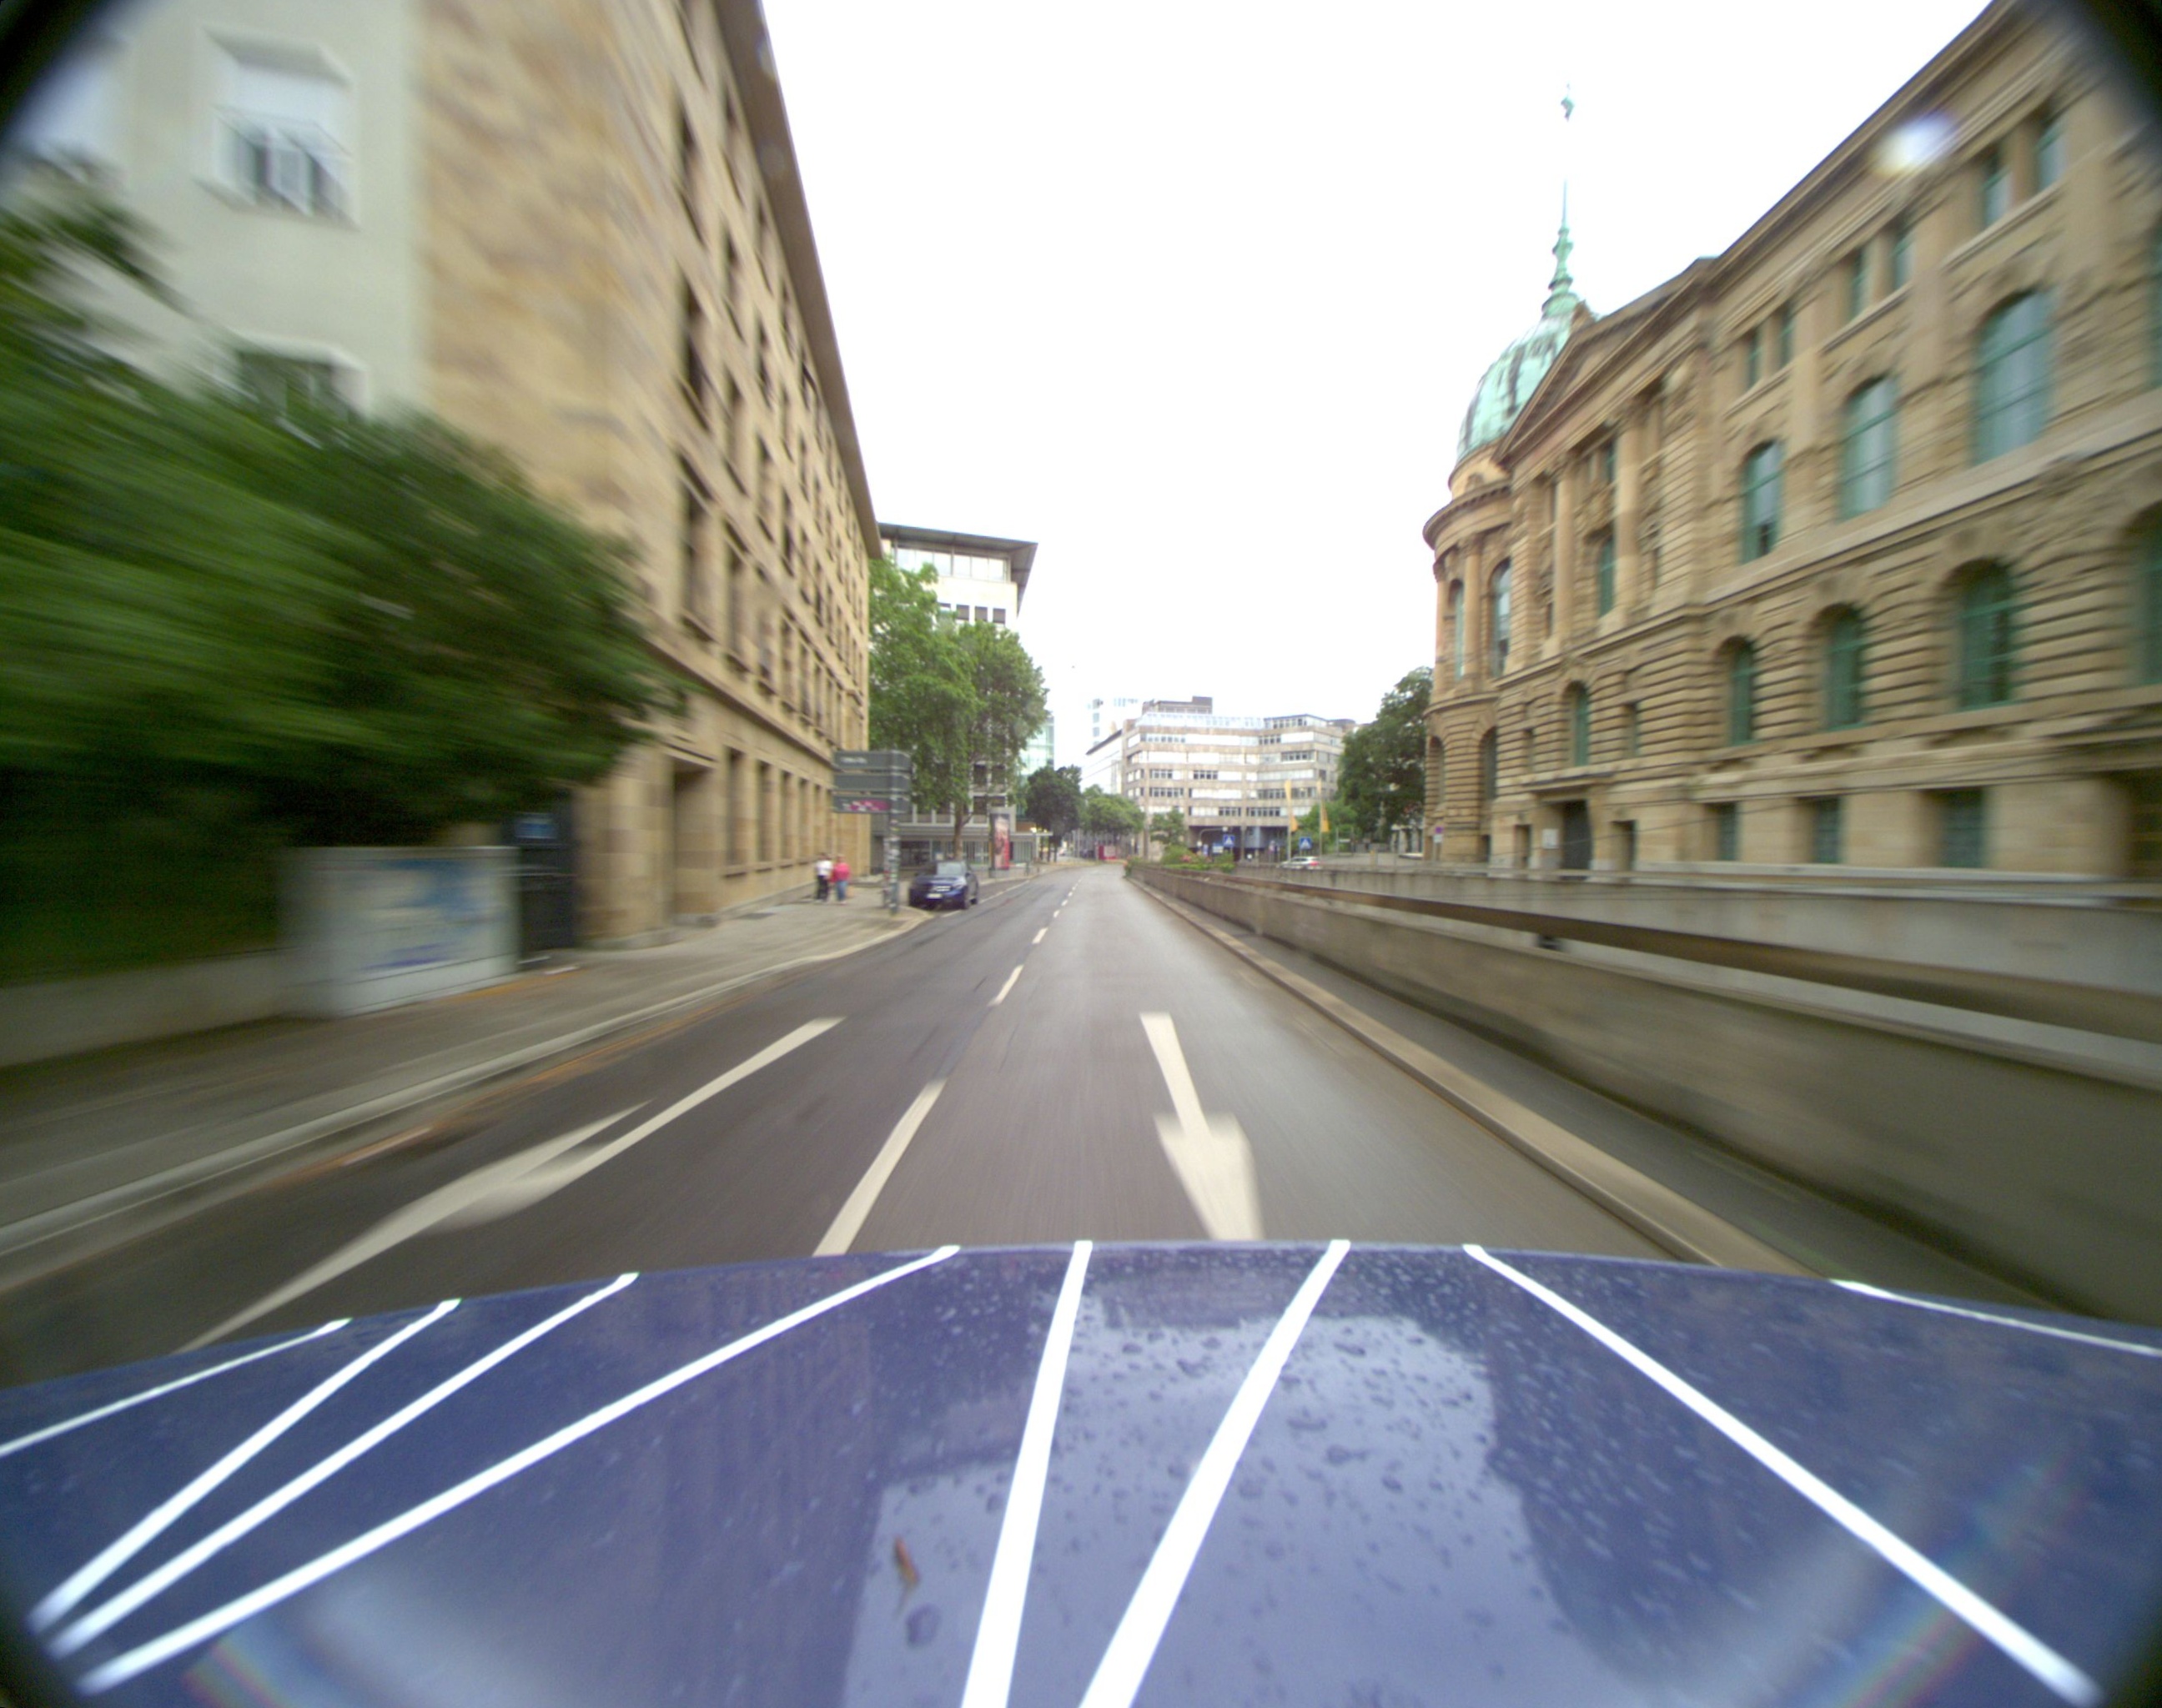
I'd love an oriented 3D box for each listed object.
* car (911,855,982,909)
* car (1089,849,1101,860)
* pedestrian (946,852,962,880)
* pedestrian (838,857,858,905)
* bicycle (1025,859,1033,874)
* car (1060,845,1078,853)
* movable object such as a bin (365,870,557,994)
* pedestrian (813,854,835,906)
[{"bbox_3d":[-4.522,0.899,26.120,1.773,1.610,4.156,-1,1,-1],"label":"car"},{"bbox_3d":[2.798,0.088,149.383,1.999,2.068,3.998,-1,1,-4],"label":"car"},{"bbox_3d":[-8.085,0.769,48.471,0.780,1.761,0.863,0,1,10],"label":"pedestrian"},{"bbox_3d":[-7.360,0.844,24.016,0.526,1.483,0.673,0,1,-12],"label":"pedestrian"},{"bbox_3d":[-3.781,0.910,55.079,0.490,1.006,1.927,0,1,-2],"label":"bicycle"},{"bbox_3d":[-2.868,-1.174,182.246,3.776,1.641,1.796,2,1,-23],"label":"car"},{"bbox_3d":[-7.294,0.879,9.032,1.242,1.302,1.234,2,1,1],"label":"movable object such as a bin"},{"bbox_3d":[-7.974,0.798,23.612,0.526,1.593,0.673,0,1,-10],"label":"pedestrian"}]
